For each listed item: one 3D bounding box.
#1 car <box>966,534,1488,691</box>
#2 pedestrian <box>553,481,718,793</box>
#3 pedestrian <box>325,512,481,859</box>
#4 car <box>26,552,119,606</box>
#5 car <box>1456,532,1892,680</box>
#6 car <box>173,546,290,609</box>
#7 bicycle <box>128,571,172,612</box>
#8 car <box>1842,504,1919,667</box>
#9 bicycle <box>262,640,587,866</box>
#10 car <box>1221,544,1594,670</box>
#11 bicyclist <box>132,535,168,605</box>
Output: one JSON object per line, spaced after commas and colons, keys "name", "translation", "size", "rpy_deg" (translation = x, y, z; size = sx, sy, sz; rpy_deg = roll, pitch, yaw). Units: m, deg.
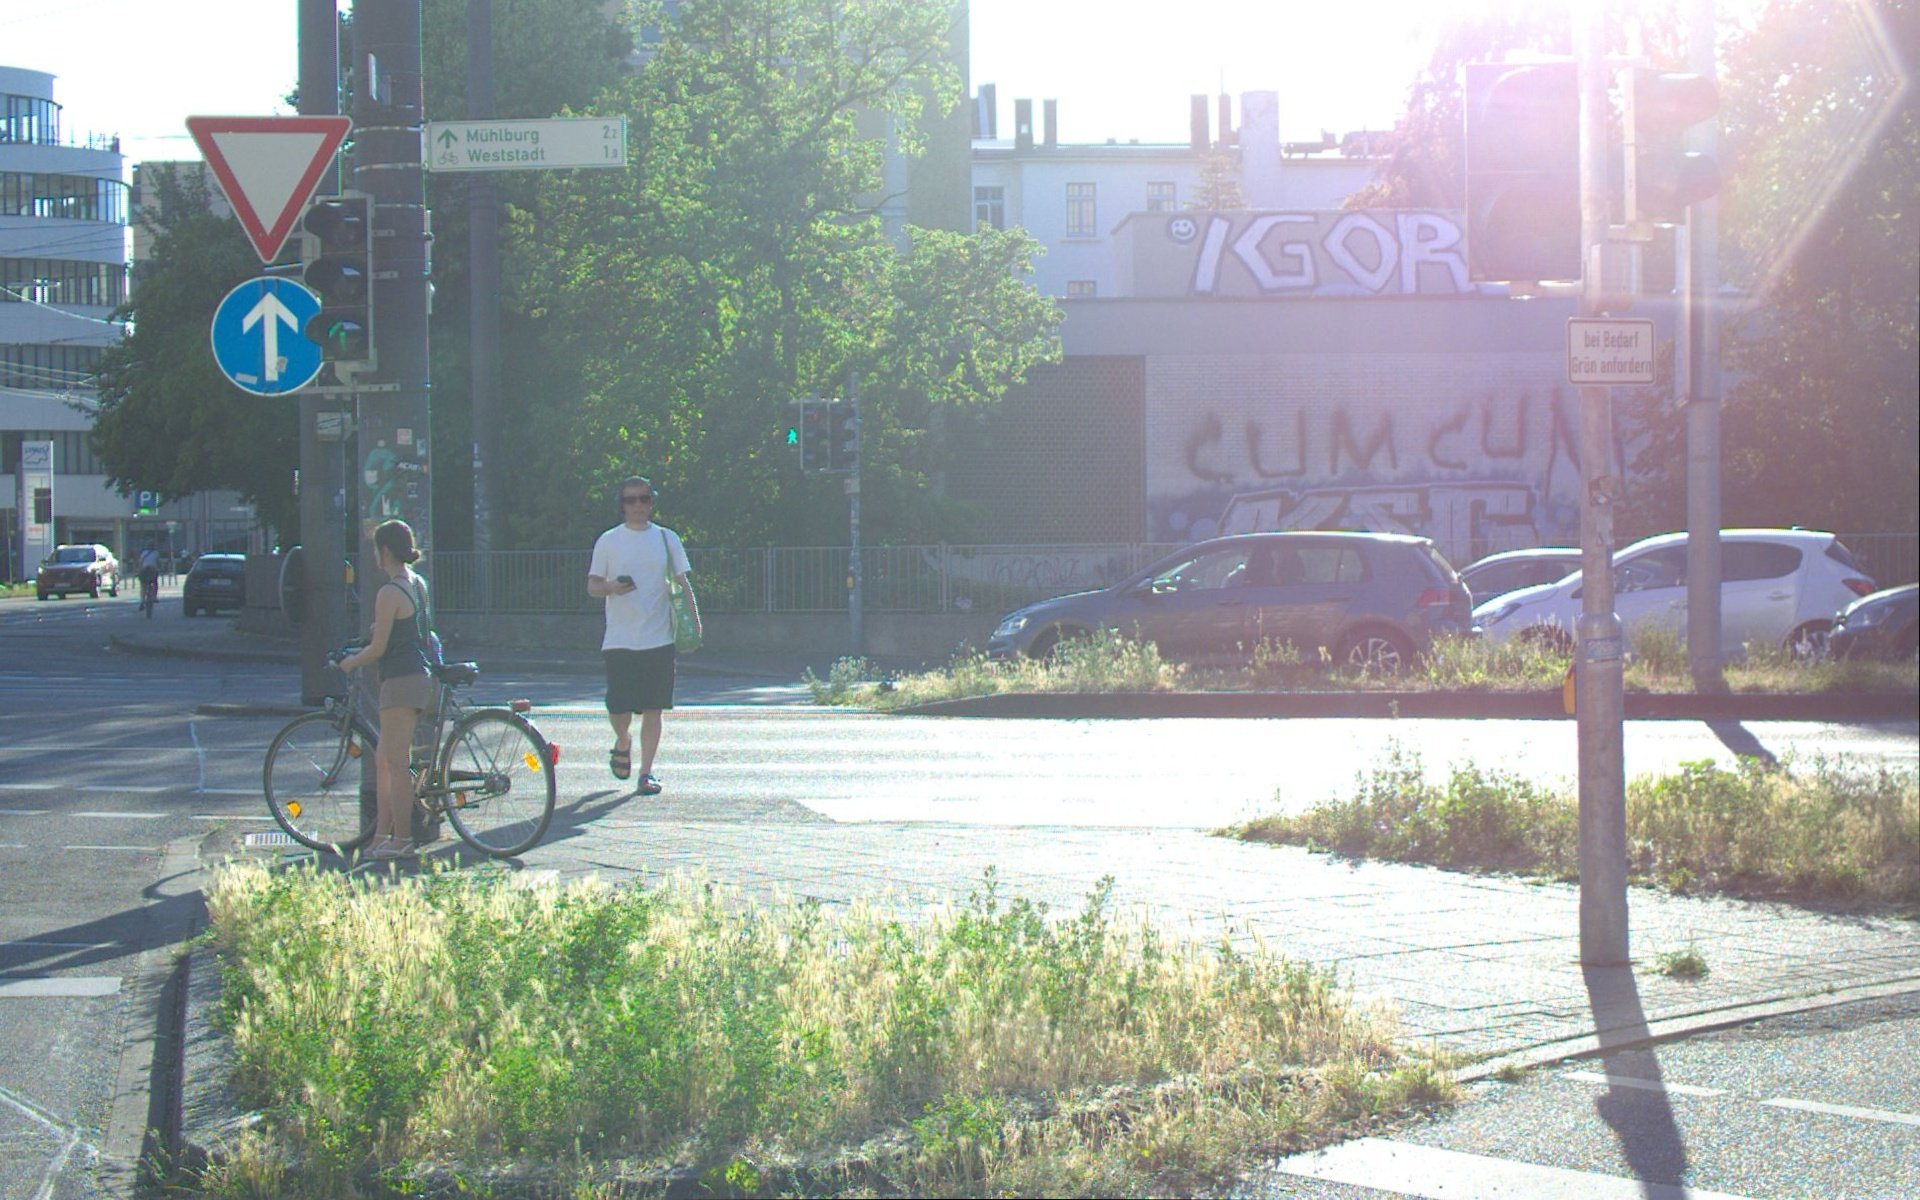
{"name": "car", "translation": [2.319, 0.099, 29.599], "size": [4.237, 1.292, 1.723], "rpy_deg": [0, 1, 15]}
{"name": "pedestrian", "translation": [-1.913, 0.203, 20.182], "size": [0.908, 1.783, 0.827], "rpy_deg": [-1, 1, -8]}
{"name": "pedestrian", "translation": [-2.663, 0.398, 16.436], "size": [0.525, 1.626, 0.488], "rpy_deg": [0, 1, 32]}
{"name": "car", "translation": [-27.461, -0.673, 106.527], "size": [1.815, 1.609, 4.466], "rpy_deg": [-1, 1, -2]}
{"name": "car", "translation": [6.648, 0.047, 32.198], "size": [3.883, 1.315, 1.723], "rpy_deg": [0, 1, 11]}
{"name": "car", "translation": [-16.691, -0.536, 78.934], "size": [1.785, 1.383, 4.000], "rpy_deg": [-1, 1, 1]}
{"name": "bicycle", "translation": [-17.794, -0.189, 75.553], "size": [0.694, 0.874, 2.027], "rpy_deg": [-1, 1, -6]}
{"name": "car", "translation": [9.385, -0.141, 27.705], "size": [4.365, 1.292, 1.723], "rpy_deg": [0, 1, 13]}
{"name": "bicycle", "translation": [-2.577, 0.713, 16.456], "size": [1.669, 1.025, 0.399], "rpy_deg": [0, 1, 32]}
{"name": "car", "translation": [4.845, 0.064, 37.011], "size": [3.883, 1.292, 1.723], "rpy_deg": [0, 1, 11]}
{"name": "bicyclist", "translation": [-17.820, -0.658, 75.628], "size": [0.673, 1.517, 0.814], "rpy_deg": [-1, 1, -7]}
